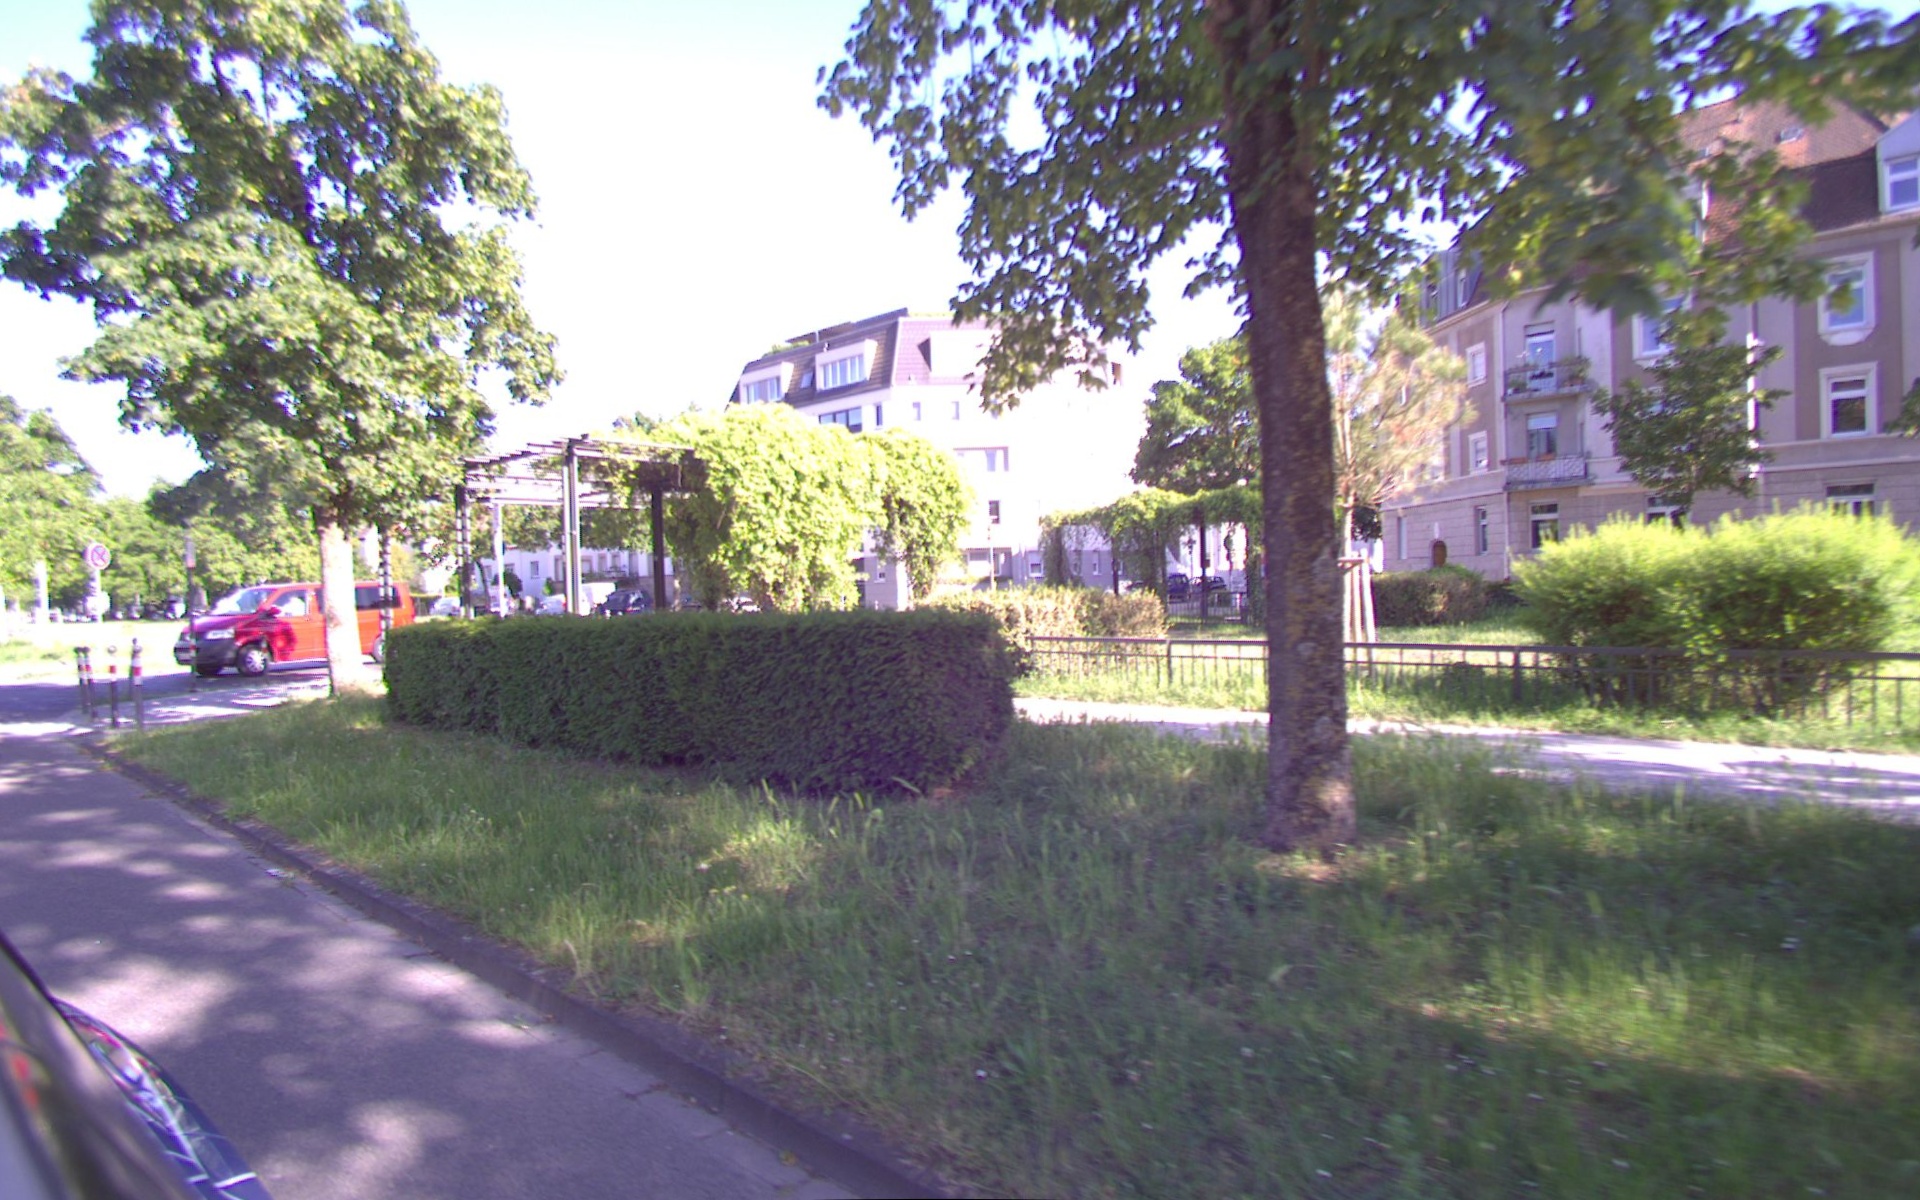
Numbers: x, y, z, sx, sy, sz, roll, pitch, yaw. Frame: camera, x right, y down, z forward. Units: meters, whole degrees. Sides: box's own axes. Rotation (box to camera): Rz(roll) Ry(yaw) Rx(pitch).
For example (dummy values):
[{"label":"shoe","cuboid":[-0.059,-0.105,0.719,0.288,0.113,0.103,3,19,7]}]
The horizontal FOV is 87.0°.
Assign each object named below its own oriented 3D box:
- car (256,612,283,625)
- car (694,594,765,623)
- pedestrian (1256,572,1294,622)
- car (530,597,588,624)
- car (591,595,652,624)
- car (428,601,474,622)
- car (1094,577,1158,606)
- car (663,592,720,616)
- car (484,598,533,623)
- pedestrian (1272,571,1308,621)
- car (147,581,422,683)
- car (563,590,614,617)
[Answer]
[{"label":"car","cuboid":[-88.206,2.400,129.281,4.404,1.625,1.775,-1,0,41]},{"label":"car","cuboid":[-12.650,0.458,55.357,3.998,1.522,1.775,-1,0,41]},{"label":"pedestrian","cuboid":[8.057,-0.076,25.890,0.640,1.247,0.651,-3,1,-42]},{"label":"car","cuboid":[-26.868,0.721,67.730,4.407,1.706,2.029,-1,0,44]},{"label":"car","cuboid":[-20.859,0.600,62.293,4.130,1.706,1.775,-1,0,41]},{"label":"car","cuboid":[-40.467,0.919,80.399,4.404,1.625,1.775,-1,0,41]},{"label":"car","cuboid":[9.660,-0.510,58.688,1.800,1.521,3.944,-1,1,42]},{"label":"car","cuboid":[-17.994,0.290,67.749,3.998,1.522,1.775,-1,0,41]},{"label":"car","cuboid":[-32.692,0.761,73.213,3.998,1.687,1.775,-1,0,41]},{"label":"pedestrian","cuboid":[8.601,-0.106,26.380,0.640,1.247,0.651,-3,1,-42]},{"label":"car","cuboid":[-15.143,0.620,23.040,2.083,2.027,4.801,-1,1,26]},{"label":"car","cuboid":[-28.280,0.280,77.011,4.406,2.044,1.915,-1,0,44]}]
